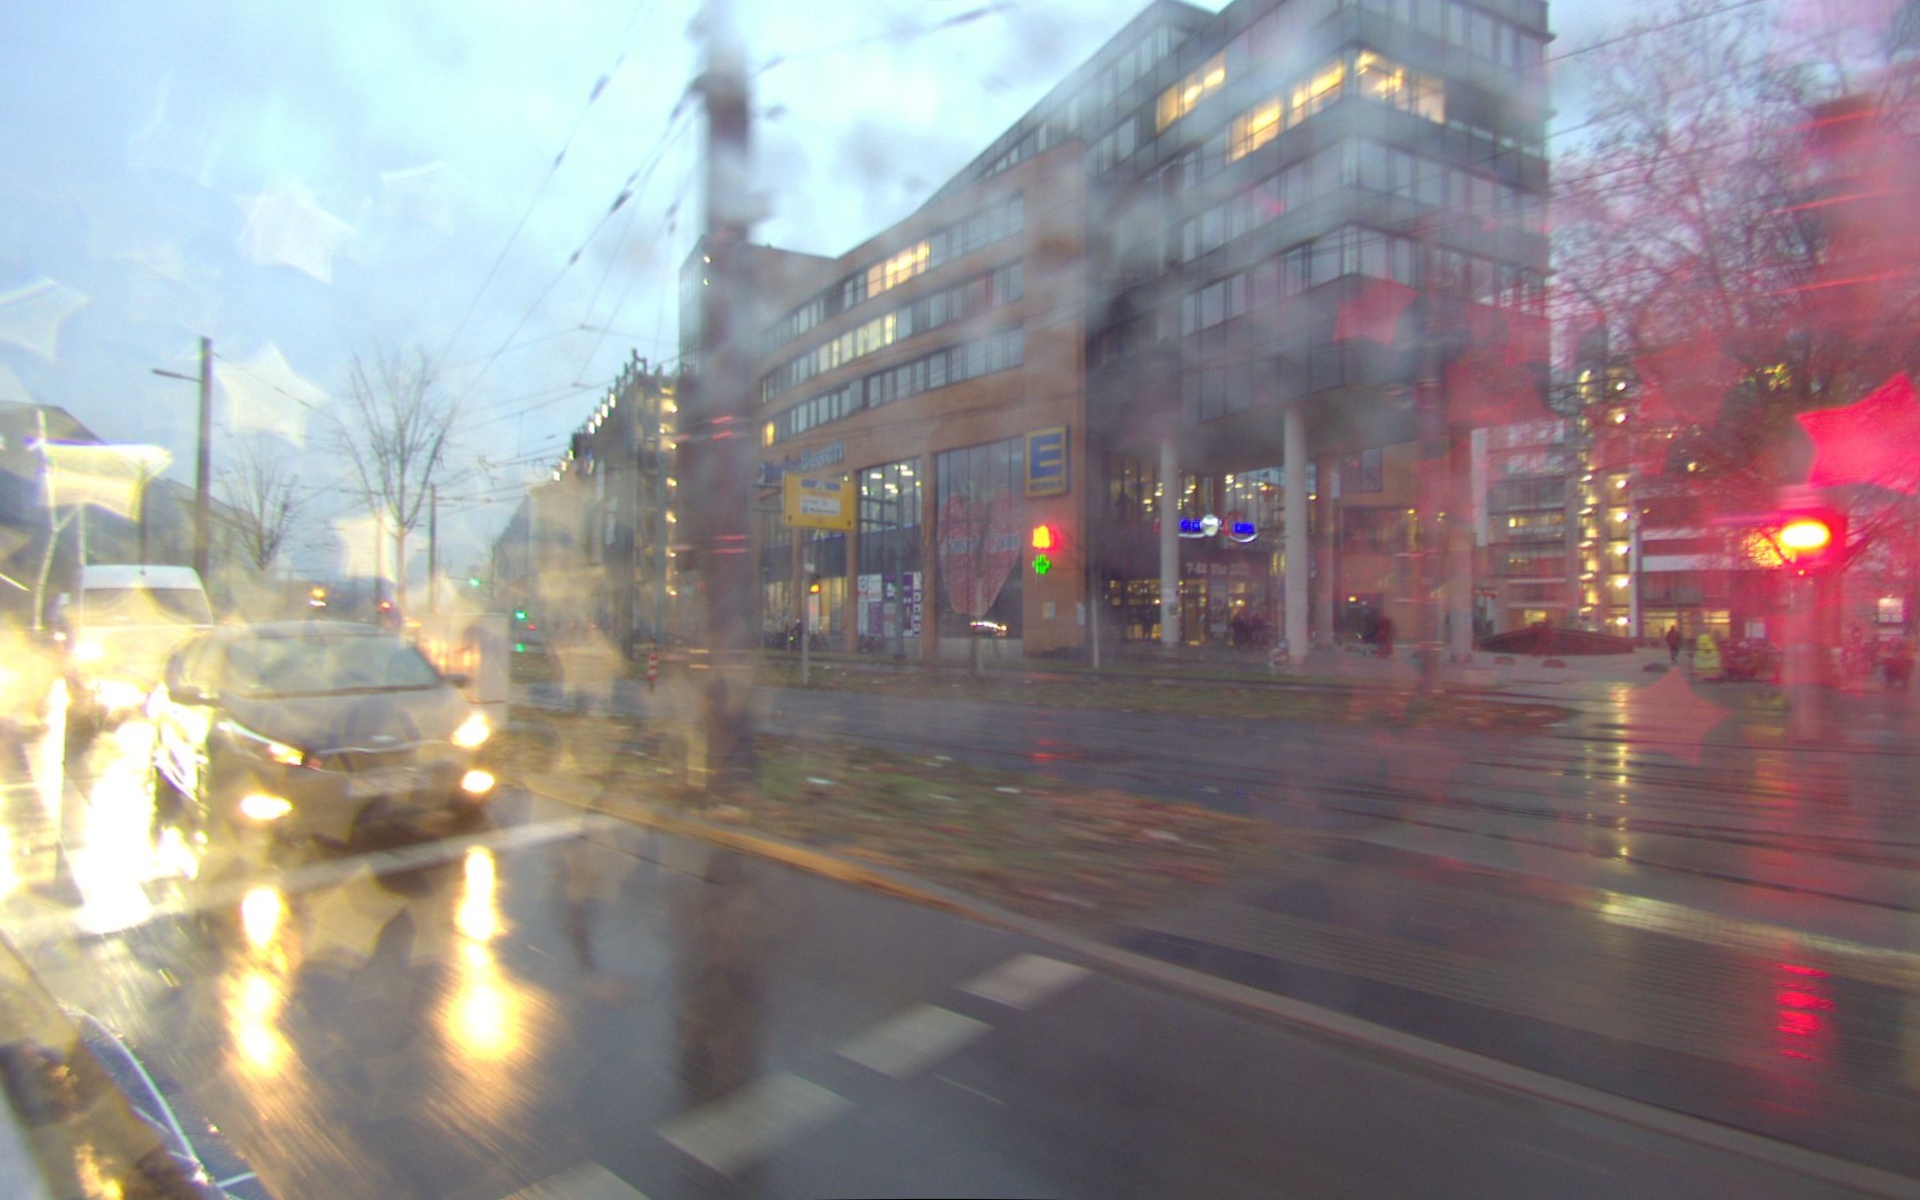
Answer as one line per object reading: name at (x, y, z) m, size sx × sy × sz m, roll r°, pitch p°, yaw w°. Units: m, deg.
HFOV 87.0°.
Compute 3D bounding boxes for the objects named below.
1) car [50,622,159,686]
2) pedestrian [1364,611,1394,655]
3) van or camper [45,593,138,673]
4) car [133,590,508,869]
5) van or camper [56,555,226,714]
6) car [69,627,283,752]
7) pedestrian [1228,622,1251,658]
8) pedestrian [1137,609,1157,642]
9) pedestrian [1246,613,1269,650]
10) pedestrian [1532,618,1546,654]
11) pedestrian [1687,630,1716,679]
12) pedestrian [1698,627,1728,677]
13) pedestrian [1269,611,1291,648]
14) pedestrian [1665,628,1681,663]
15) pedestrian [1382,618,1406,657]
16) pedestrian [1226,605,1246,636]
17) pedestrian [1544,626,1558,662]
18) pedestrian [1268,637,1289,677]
car at (-21.409, 1.294, 25.276) m, size 1.799 × 1.409 × 3.955 m, roll -1°, pitch -1°, yaw -44°
pedestrian at (18.228, 1.433, 44.021) m, size 0.762 × 1.860 × 0.924 m, roll 2°, pitch -3°, yaw -37°
van or camper at (-28.393, 1.044, 33.116) m, size 2.153 × 2.370 × 5.658 m, roll -1°, pitch -1°, yaw -41°
car at (-4.997, 0.785, 7.690) m, size 1.660 × 1.585 × 3.763 m, roll 2°, pitch -2°, yaw -44°
van or camper at (-15.606, 0.578, 19.131) m, size 2.032 × 2.567 × 5.890 m, roll -1°, pitch 0°, yaw -44°
car at (-10.577, 1.065, 13.527) m, size 1.799 × 1.342 × 4.228 m, roll -1°, pitch -1°, yaw -44°
pedestrian at (12.016, 1.707, 43.466) m, size 0.642 × 1.515 × 0.695 m, roll 2°, pitch -3°, yaw -36°
pedestrian at (8.622, 1.163, 46.655) m, size 0.642 × 1.515 × 0.695 m, roll 2°, pitch -3°, yaw -36°
pedestrian at (13.484, 1.420, 45.903) m, size 0.730 × 1.669 × 0.695 m, roll 2°, pitch -3°, yaw -36°
pedestrian at (28.877, 1.807, 50.465) m, size 0.446 × 1.764 × 0.645 m, roll -2°, pitch -2°, yaw 44°
pedestrian at (25.809, 1.891, 35.238) m, size 0.591 × 1.696 × 0.559 m, roll 0°, pitch -2°, yaw 11°
pedestrian at (25.740, 1.761, 34.599) m, size 0.591 × 1.696 × 0.559 m, roll 0°, pitch -2°, yaw 12°
pedestrian at (15.353, 1.417, 48.542) m, size 0.917 × 1.721 × 0.691 m, roll 0°, pitch -2°, yaw 12°
pedestrian at (34.024, 2.163, 48.298) m, size 0.561 × 1.696 × 0.589 m, roll -1°, pitch -2°, yaw 40°
pedestrian at (19.084, 1.653, 44.546) m, size 0.716 × 1.721 × 0.695 m, roll 2°, pitch -3°, yaw -36°
pedestrian at (13.402, 0.998, 49.128) m, size 0.642 × 1.515 × 0.695 m, roll 2°, pitch -3°, yaw -36°
pedestrian at (29.231, 2.152, 50.040) m, size 0.446 × 1.764 × 0.645 m, roll -2°, pitch -2°, yaw 44°
pedestrian at (10.258, 1.830, 32.610) m, size 0.496 × 1.274 × 0.440 m, roll -1°, pitch 0°, yaw 40°
